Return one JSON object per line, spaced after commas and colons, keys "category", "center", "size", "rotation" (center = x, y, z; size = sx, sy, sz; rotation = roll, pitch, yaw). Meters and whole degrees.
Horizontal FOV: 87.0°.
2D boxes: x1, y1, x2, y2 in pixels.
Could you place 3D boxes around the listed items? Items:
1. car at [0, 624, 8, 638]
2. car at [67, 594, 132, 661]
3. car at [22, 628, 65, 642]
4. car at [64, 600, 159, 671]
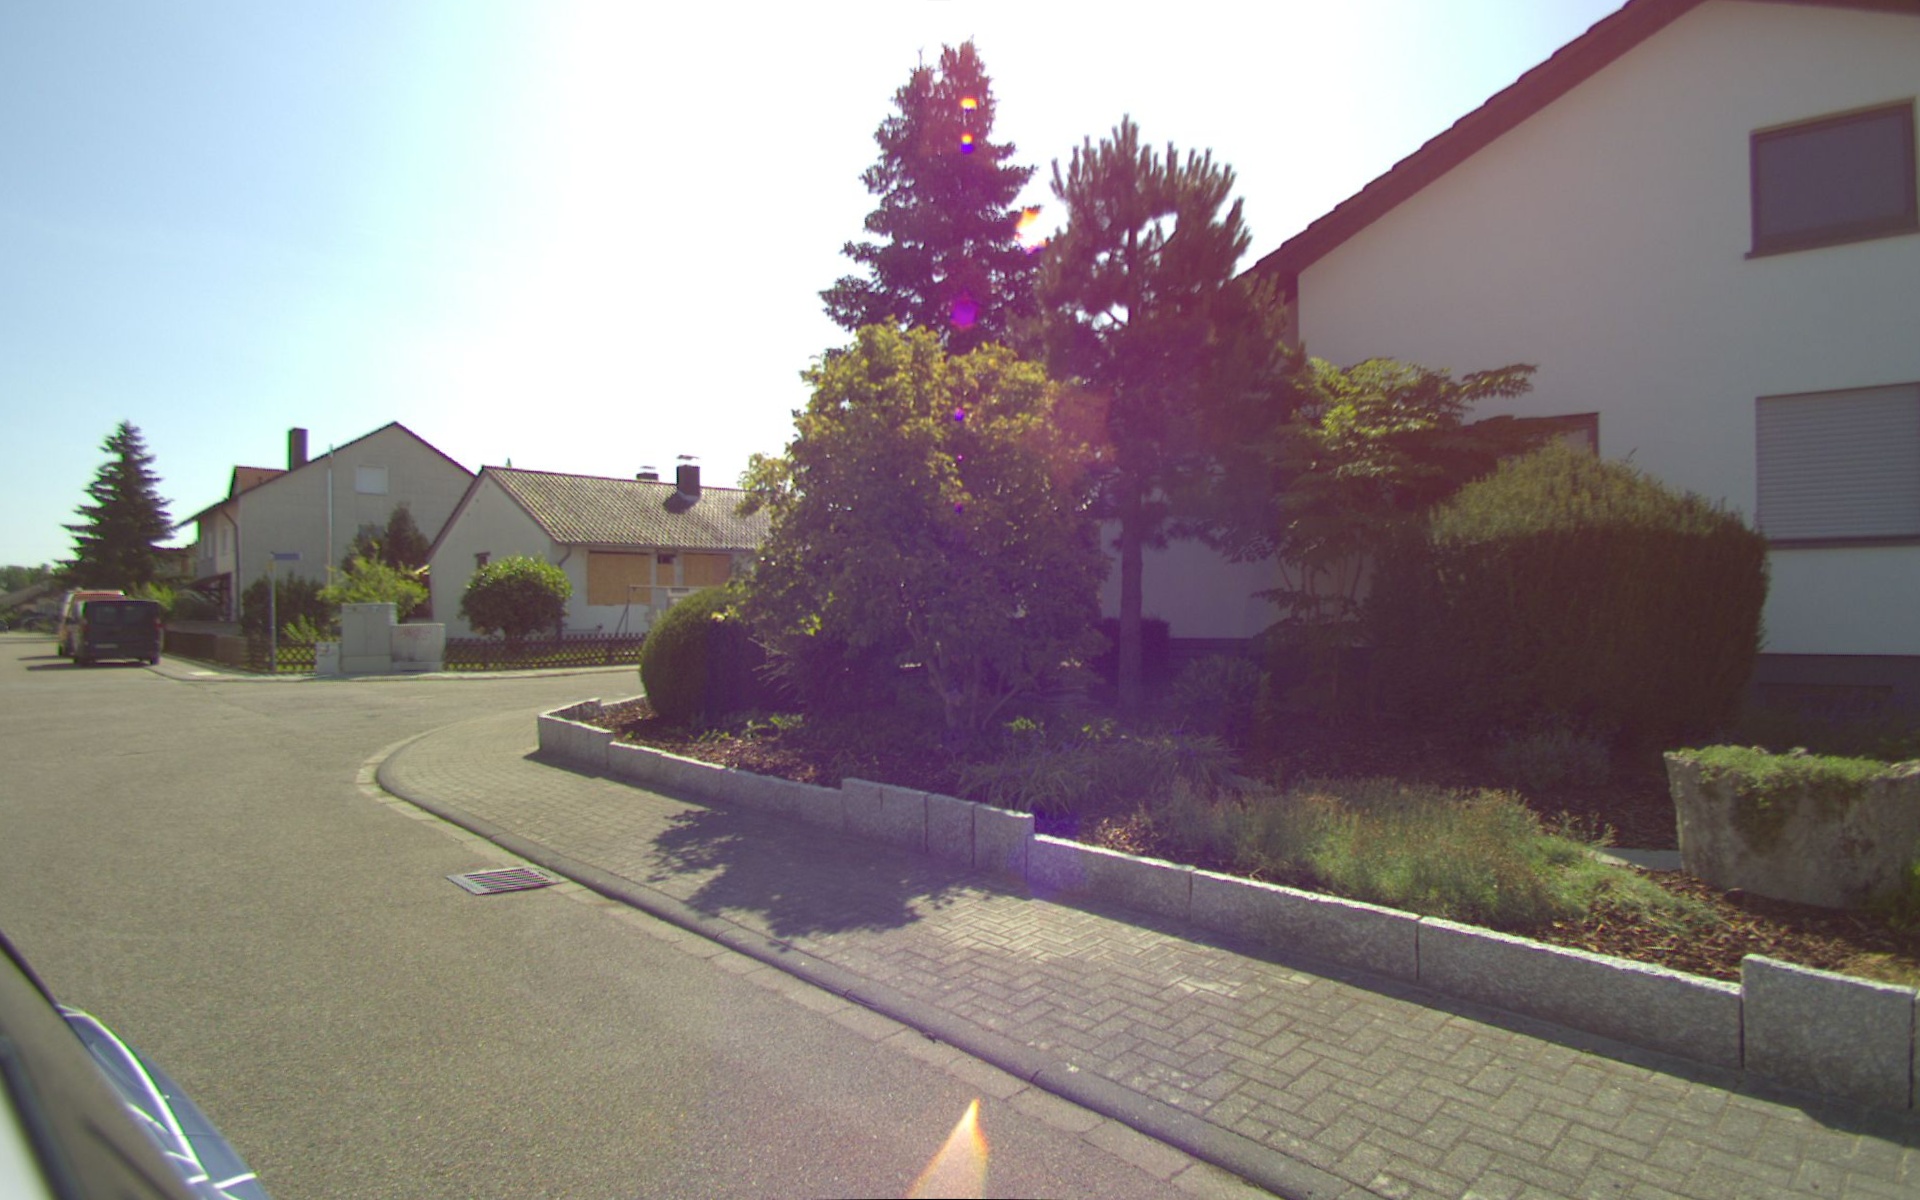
{"category": "car", "center": [-98.803, 3.187, 103.338], "size": [3.994, 1.350, 1.688], "rotation": [-3, -2, 38]}
{"category": "car", "center": [-31.918, 0.988, 37.514], "size": [1.533, 2.341, 4.207], "rotation": [-1, -1, -45]}
{"category": "car", "center": [-102.389, 3.903, 113.084], "size": [1.637, 1.541, 3.370], "rotation": [-1, -1, 39]}
{"category": "car", "center": [-25.612, 1.034, 30.507], "size": [1.844, 1.953, 4.207], "rotation": [-1, 0, -45]}
